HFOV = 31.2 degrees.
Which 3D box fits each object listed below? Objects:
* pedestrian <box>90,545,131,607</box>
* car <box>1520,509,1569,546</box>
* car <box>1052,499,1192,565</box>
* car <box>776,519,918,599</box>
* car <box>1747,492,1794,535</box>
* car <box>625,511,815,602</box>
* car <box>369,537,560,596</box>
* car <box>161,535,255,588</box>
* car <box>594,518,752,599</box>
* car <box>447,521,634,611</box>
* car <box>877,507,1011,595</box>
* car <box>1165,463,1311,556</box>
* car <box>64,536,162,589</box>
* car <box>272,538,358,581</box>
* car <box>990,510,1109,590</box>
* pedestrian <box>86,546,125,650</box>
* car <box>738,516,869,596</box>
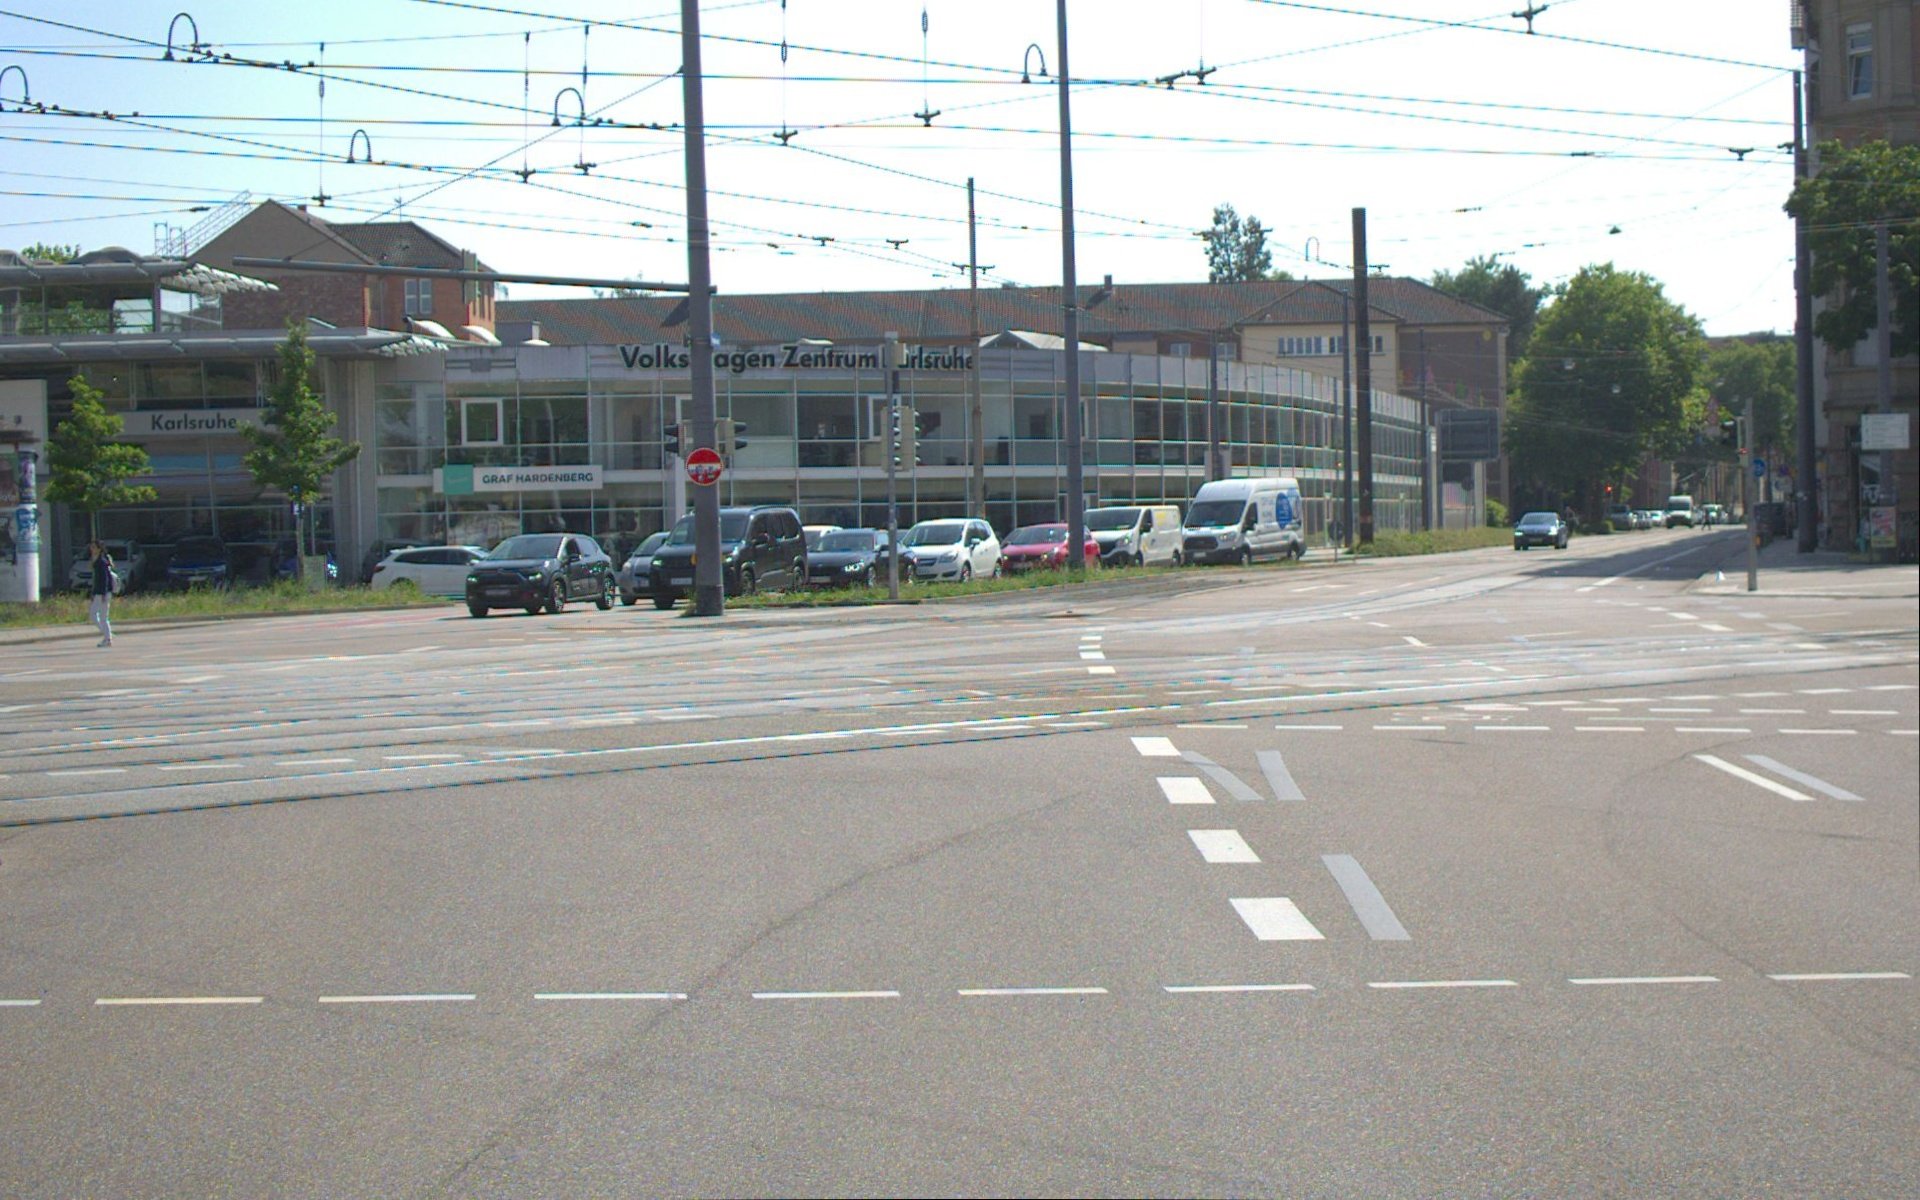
[{"bbox_3d":[-22.123,-0.627,89.540,0.953,1.574,0.534,1,0,-3],"label":"pedestrian"},{"bbox_3d":[22.706,-2.809,133.554,1.385,1.409,3.010,1,1,19],"label":"car"},{"bbox_3d":[4.399,-1.842,92.410,2.188,1.675,5.024,-1,1,22],"label":"car"},{"bbox_3d":[-2.303,-0.827,71.140,1.895,1.582,3.997,-1,0,14],"label":"car"},{"bbox_3d":[39.059,-4.197,165.657,2.110,2.007,3.998,-1,1,14],"label":"car"},{"bbox_3d":[-4.423,-0.840,64.224,1.962,1.582,4.713,-1,1,17],"label":"car"},{"bbox_3d":[-12.608,-0.850,87.499,4.587,1.431,1.443,1,0,14],"label":"car"},{"bbox_3d":[-21.925,-1.124,100.358,1.993,1.481,4.000,1,1,-2],"label":"car"},{"bbox_3d":[-5.871,-0.833,70.789,1.896,1.582,3.997,-1,0,17],"label":"car"},{"bbox_3d":[-7.767,-0.623,63.979,1.893,1.582,4.207,-1,0,17],"label":"car"},{"bbox_3d":[-0.327,-1.092,78.430,1.896,1.910,4.197,-1,0,17],"label":"car"},{"bbox_3d":[8.101,-2.590,99.594,2.211,2.566,5.867,1,1,26],"label":"car"},{"bbox_3d":[-24.710,-1.109,100.386,1.993,1.481,4.000,1,1,-2],"label":"car"},{"bbox_3d":[-18.732,-1.194,99.968,1.830,1.191,4.000,1,1,-2],"label":"car"},{"bbox_3d":[2.244,-1.218,85.327,1.896,1.910,4.197,-1,0,17],"label":"car"},{"bbox_3d":[-13.226,-0.026,53.190,0.453,1.599,0.400,1,0,-36],"label":"pedestrian"},{"bbox_3d":[-3.525,-0.988,78.110,1.653,1.733,4.197,-1,0,17],"label":"car"}]
